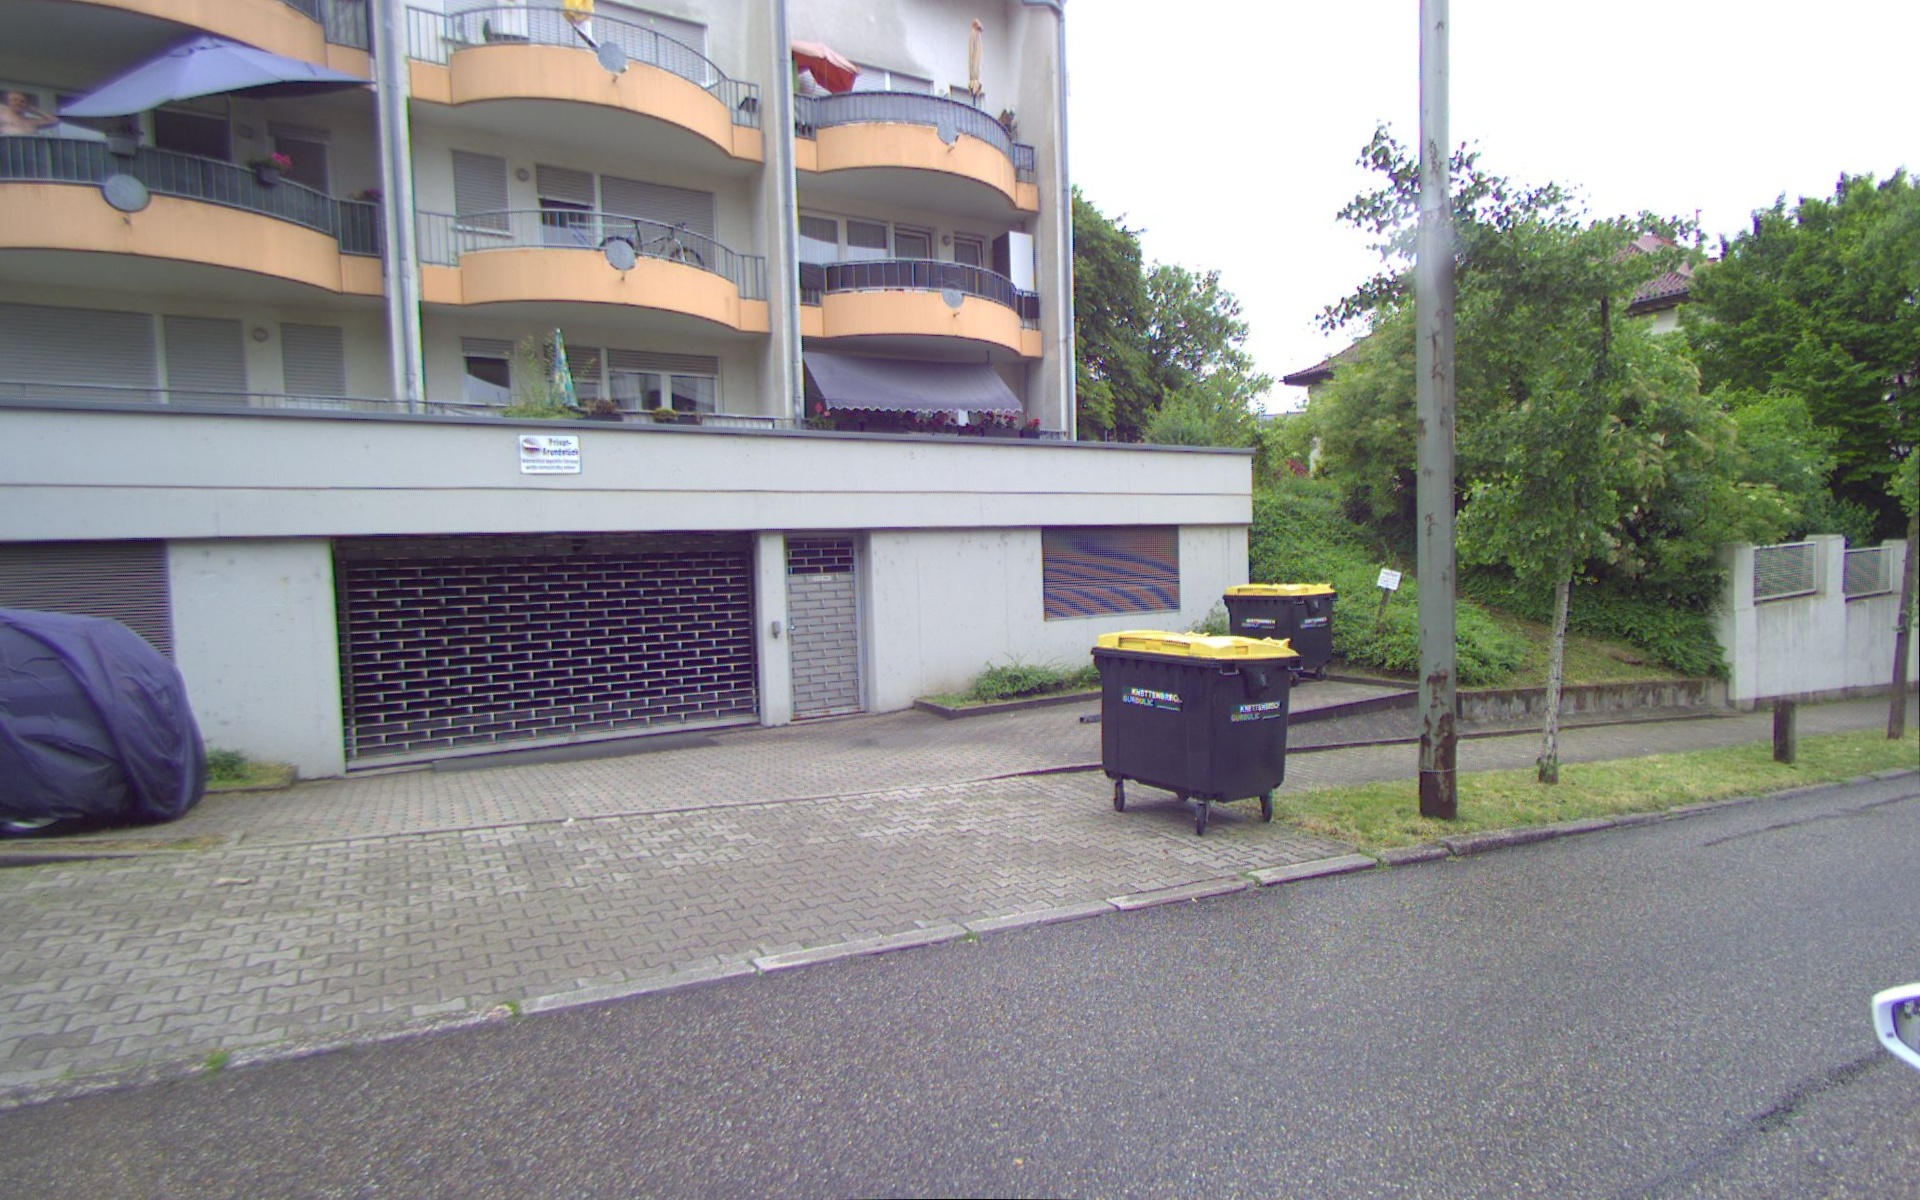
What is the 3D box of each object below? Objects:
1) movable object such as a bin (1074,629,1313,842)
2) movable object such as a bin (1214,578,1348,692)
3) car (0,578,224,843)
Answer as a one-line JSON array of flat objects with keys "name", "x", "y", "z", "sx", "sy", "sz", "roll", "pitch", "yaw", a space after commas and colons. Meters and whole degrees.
[{"name": "movable object such as a bin", "x": 1.712, "y": 0.915, "z": 7.451, "sx": 1.145, "sy": 1.324, "sz": 1.288, "roll": 0, "pitch": 1, "yaw": -38}, {"name": "movable object such as a bin", "x": 4.466, "y": 0.436, "z": 13.977, "sx": 1.215, "sy": 1.383, "sz": 1.288, "roll": -7, "pitch": 6, "yaw": -36}, {"name": "car", "x": -7.193, "y": 0.690, "z": 6.212, "sx": 4.050, "sy": 1.581, "sz": 1.770, "roll": 1, "pitch": -4, "yaw": -31}]
